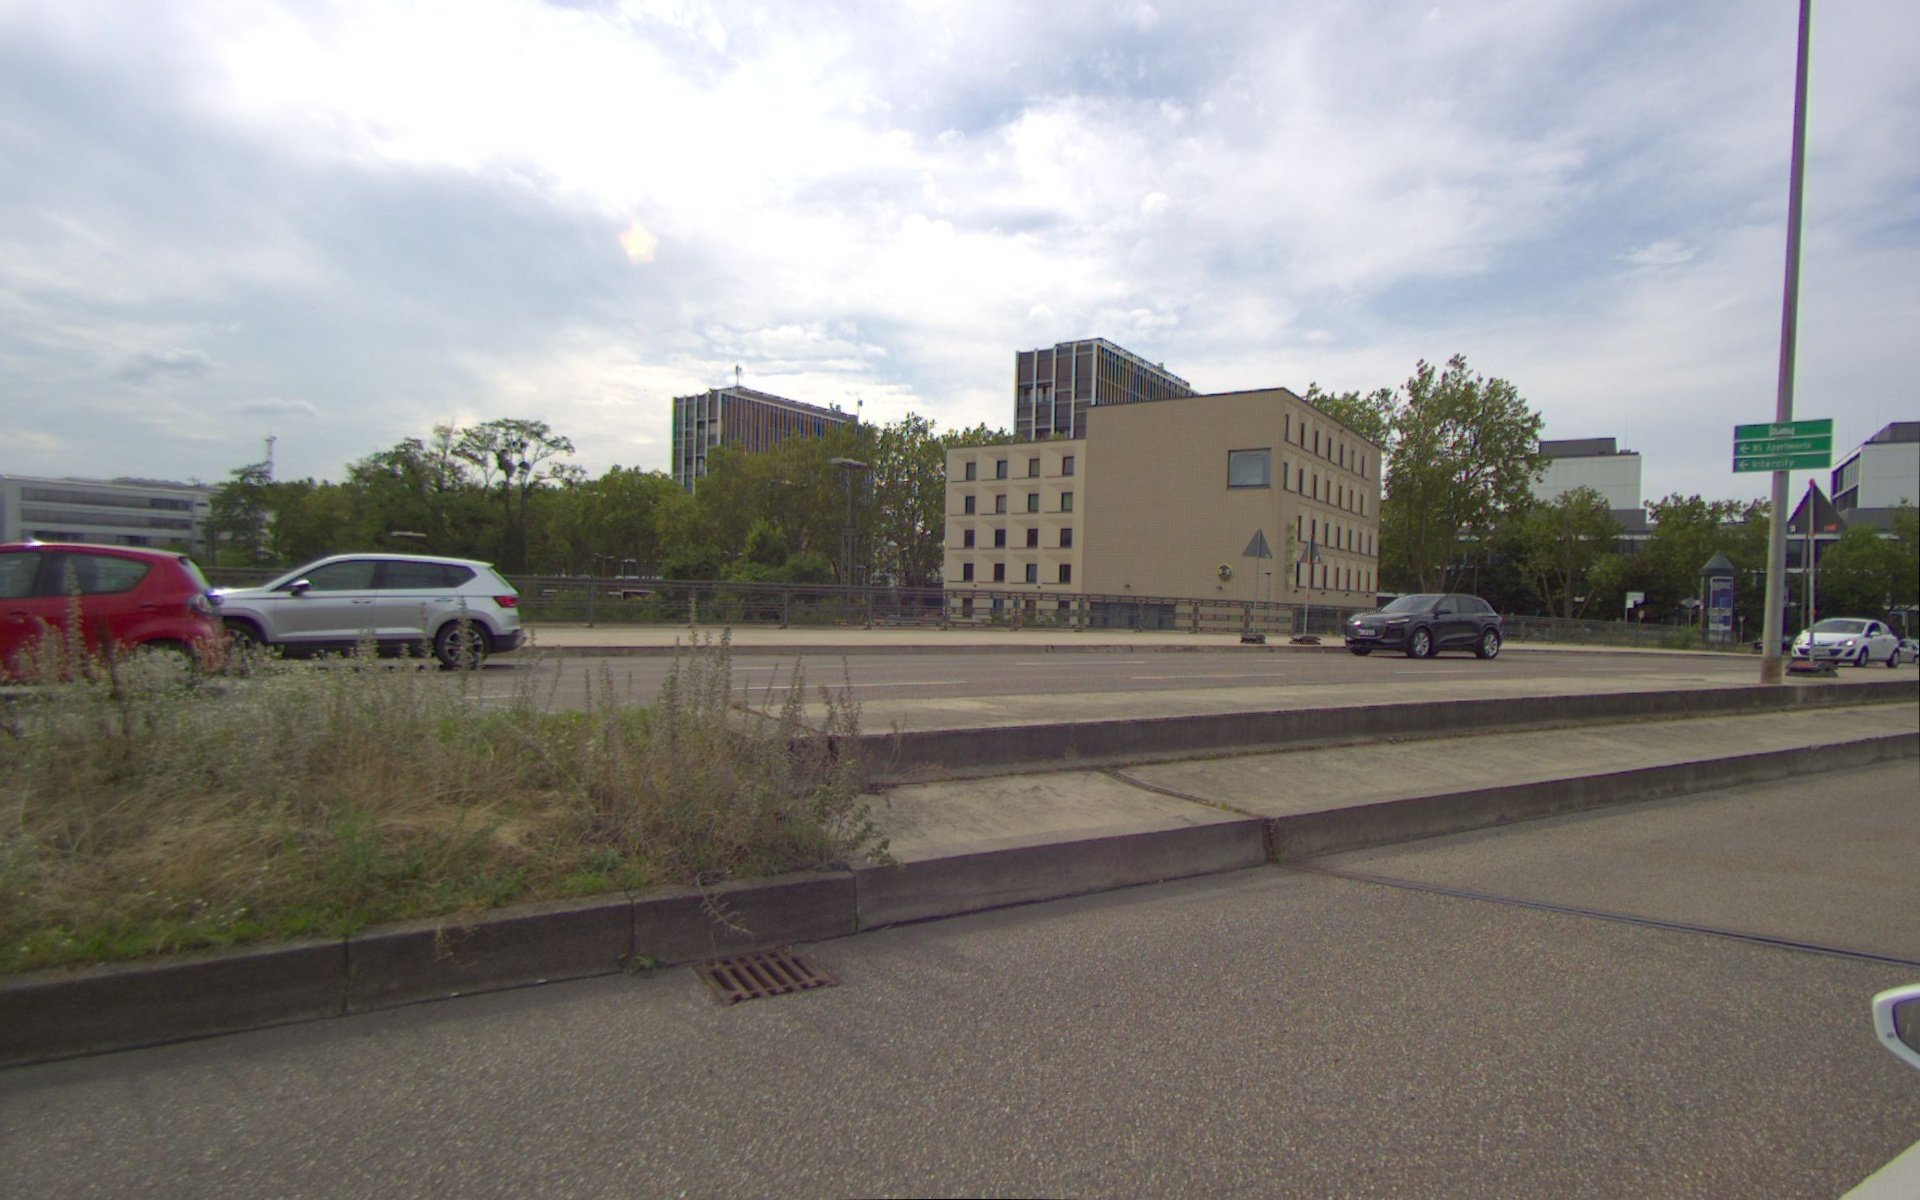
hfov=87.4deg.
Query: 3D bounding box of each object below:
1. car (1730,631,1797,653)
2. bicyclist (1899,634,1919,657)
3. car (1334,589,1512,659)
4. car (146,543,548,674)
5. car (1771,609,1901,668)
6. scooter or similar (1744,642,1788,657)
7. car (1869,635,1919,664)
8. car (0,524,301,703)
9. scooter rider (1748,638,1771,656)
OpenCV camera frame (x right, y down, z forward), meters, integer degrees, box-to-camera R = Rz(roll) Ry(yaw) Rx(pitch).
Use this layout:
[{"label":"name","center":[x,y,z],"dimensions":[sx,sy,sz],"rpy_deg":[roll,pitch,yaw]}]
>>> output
[{"label":"car","center":[65.935,3.427,82.455],"dimensions":[3.922,1.550,1.682],"rpy_deg":[2,0,22]},{"label":"bicyclist","center":[64.158,3.077,67.693],"dimensions":[1.095,1.455,0.648],"rpy_deg":[2,0,5]},{"label":"car","center":[11.992,0.633,25.966],"dimensions":[4.491,1.662,1.878],"rpy_deg":[2,0,-29]},{"label":"car","center":[-8.180,0.151,13.818],"dimensions":[4.402,1.552,1.877],"rpy_deg":[2,0,-31]},{"label":"car","center":[27.225,1.195,31.196],"dimensions":[4.171,1.662,1.877],"rpy_deg":[2,0,-32]},{"label":"scooter or similar","center":[55.381,3.398,69.020],"dimensions":[2.339,0.861,0.808],"rpy_deg":[2,0,0]},{"label":"car","center":[55.236,2.882,58.284],"dimensions":[1.887,1.547,4.882],"rpy_deg":[1,-1,19]},{"label":"car","center":[-8.638,0.105,9.522],"dimensions":[3.873,1.552,1.714],"rpy_deg":[2,0,-31]},{"label":"scooter rider","center":[54.907,3.232,69.025],"dimensions":[0.899,1.152,0.808],"rpy_deg":[2,0,0]}]
